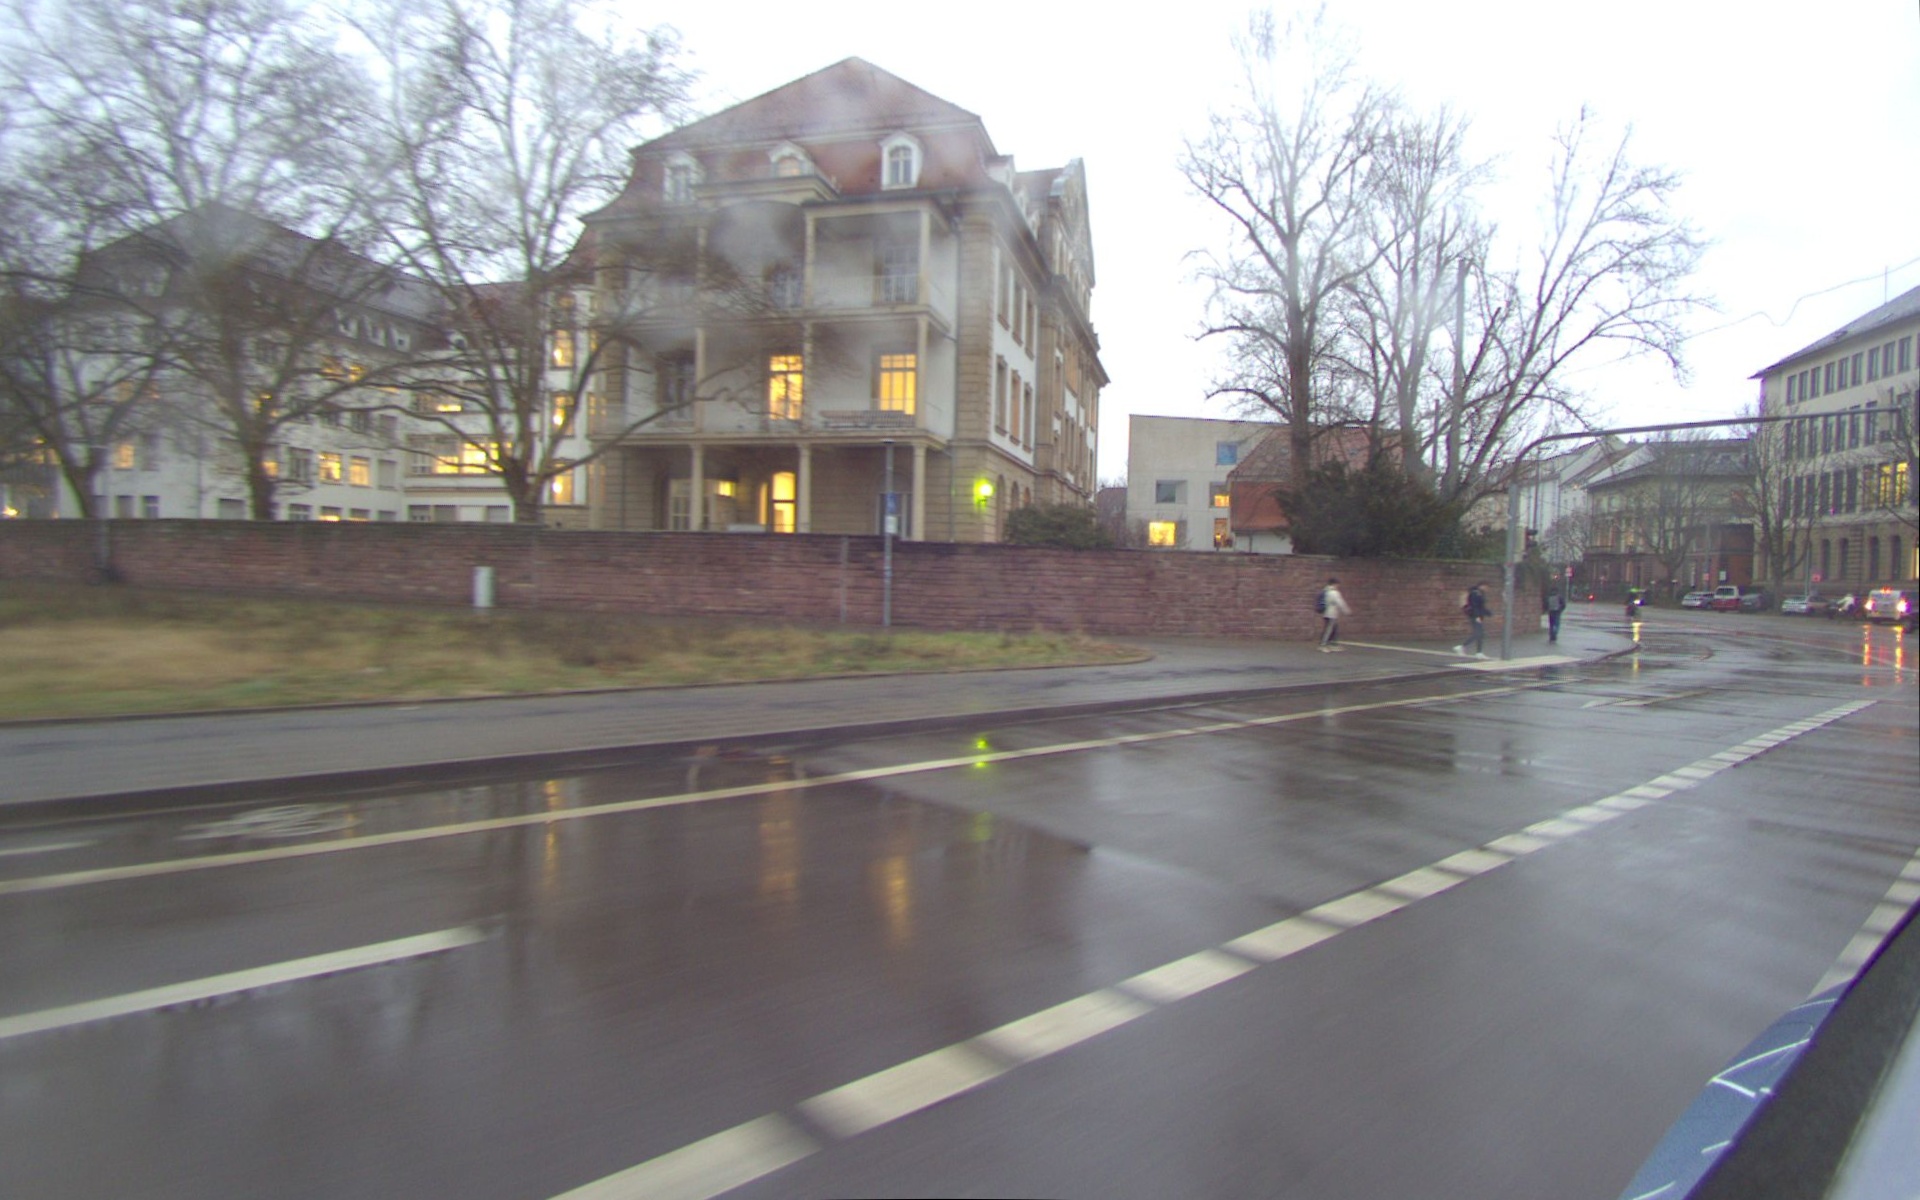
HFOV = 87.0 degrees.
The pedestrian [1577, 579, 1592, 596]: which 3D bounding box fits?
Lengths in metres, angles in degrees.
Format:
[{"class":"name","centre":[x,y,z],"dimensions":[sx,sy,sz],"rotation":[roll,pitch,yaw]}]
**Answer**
[{"class":"pedestrian","centre":[64.393,-1.275,104.409],"dimensions":[0.905,1.724,0.949],"rotation":[-1,1,-8]}]

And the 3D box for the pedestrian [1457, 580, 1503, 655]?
[{"class":"pedestrian","centre":[12.279,0.400,23.882],"dimensions":[0.788,1.696,0.720],"rotation":[4,2,36]}]

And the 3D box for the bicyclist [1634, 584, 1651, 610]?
[{"class":"bicyclist","centre":[36.115,-0.179,53.559],"dimensions":[0.711,1.359,0.712],"rotation":[0,1,30]}]

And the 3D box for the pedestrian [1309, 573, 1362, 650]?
[{"class":"pedestrian","centre":[8.665,0.239,23.364],"dimensions":[0.947,1.696,0.777],"rotation":[3,2,11]}]

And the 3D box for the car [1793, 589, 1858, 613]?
[{"class":"car","centre":[57.834,0.031,67.627],"dimensions":[3.747,1.475,1.641],"rotation":[-2,2,-19]}]

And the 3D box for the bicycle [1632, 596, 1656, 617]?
[{"class":"bicycle","centre":[36.195,0.339,53.589],"dimensions":[0.717,1.104,2.265],"rotation":[1,0,25]}]

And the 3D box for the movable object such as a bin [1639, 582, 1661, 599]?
[{"class":"movable object such as a bin","centre":[63.256,-0.854,92.765],"dimensions":[0.966,1.482,1.347],"rotation":[-1,1,-23]}]

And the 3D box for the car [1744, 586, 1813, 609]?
[{"class":"car","centre":[58.700,-0.197,72.587],"dimensions":[3.894,1.558,1.828],"rotation":[-1,2,-13]}]

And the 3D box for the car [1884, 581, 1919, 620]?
[{"class":"car","centre":[54.609,-0.011,57.045],"dimensions":[4.704,2.059,1.916],"rotation":[-2,2,-23]}]

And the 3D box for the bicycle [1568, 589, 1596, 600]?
[{"class":"bicycle","centre":[57.892,-0.527,94.196],"dimensions":[2.095,0.956,0.939],"rotation":[0,2,19]}]

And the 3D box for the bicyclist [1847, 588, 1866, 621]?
[{"class":"bicyclist","centre":[49.013,0.245,55.335],"dimensions":[0.578,1.789,0.612],"rotation":[-2,1,-32]}]

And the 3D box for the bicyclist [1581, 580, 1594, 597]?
[{"class":"bicyclist","centre":[58.257,-1.076,93.977],"dimensions":[0.846,1.615,0.776],"rotation":[1,2,19]}]

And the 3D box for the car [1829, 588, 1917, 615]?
[{"class":"car","centre":[56.663,0.082,62.835],"dimensions":[4.384,1.475,1.804],"rotation":[-1,2,-12]}]

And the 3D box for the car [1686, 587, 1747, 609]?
[{"class":"car","centre":[60.834,-0.162,81.399],"dimensions":[4.097,1.610,1.779],"rotation":[-1,2,-14]}]

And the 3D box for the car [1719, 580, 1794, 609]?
[{"class":"car","centre":[59.514,-0.441,75.660],"dimensions":[4.526,2.079,1.970],"rotation":[-1,1,-12]}]

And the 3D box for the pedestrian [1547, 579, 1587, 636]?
[{"class":"pedestrian","centre":[18.999,0.221,31.671],"dimensions":[0.804,1.705,1.139],"rotation":[4,2,41]}]
